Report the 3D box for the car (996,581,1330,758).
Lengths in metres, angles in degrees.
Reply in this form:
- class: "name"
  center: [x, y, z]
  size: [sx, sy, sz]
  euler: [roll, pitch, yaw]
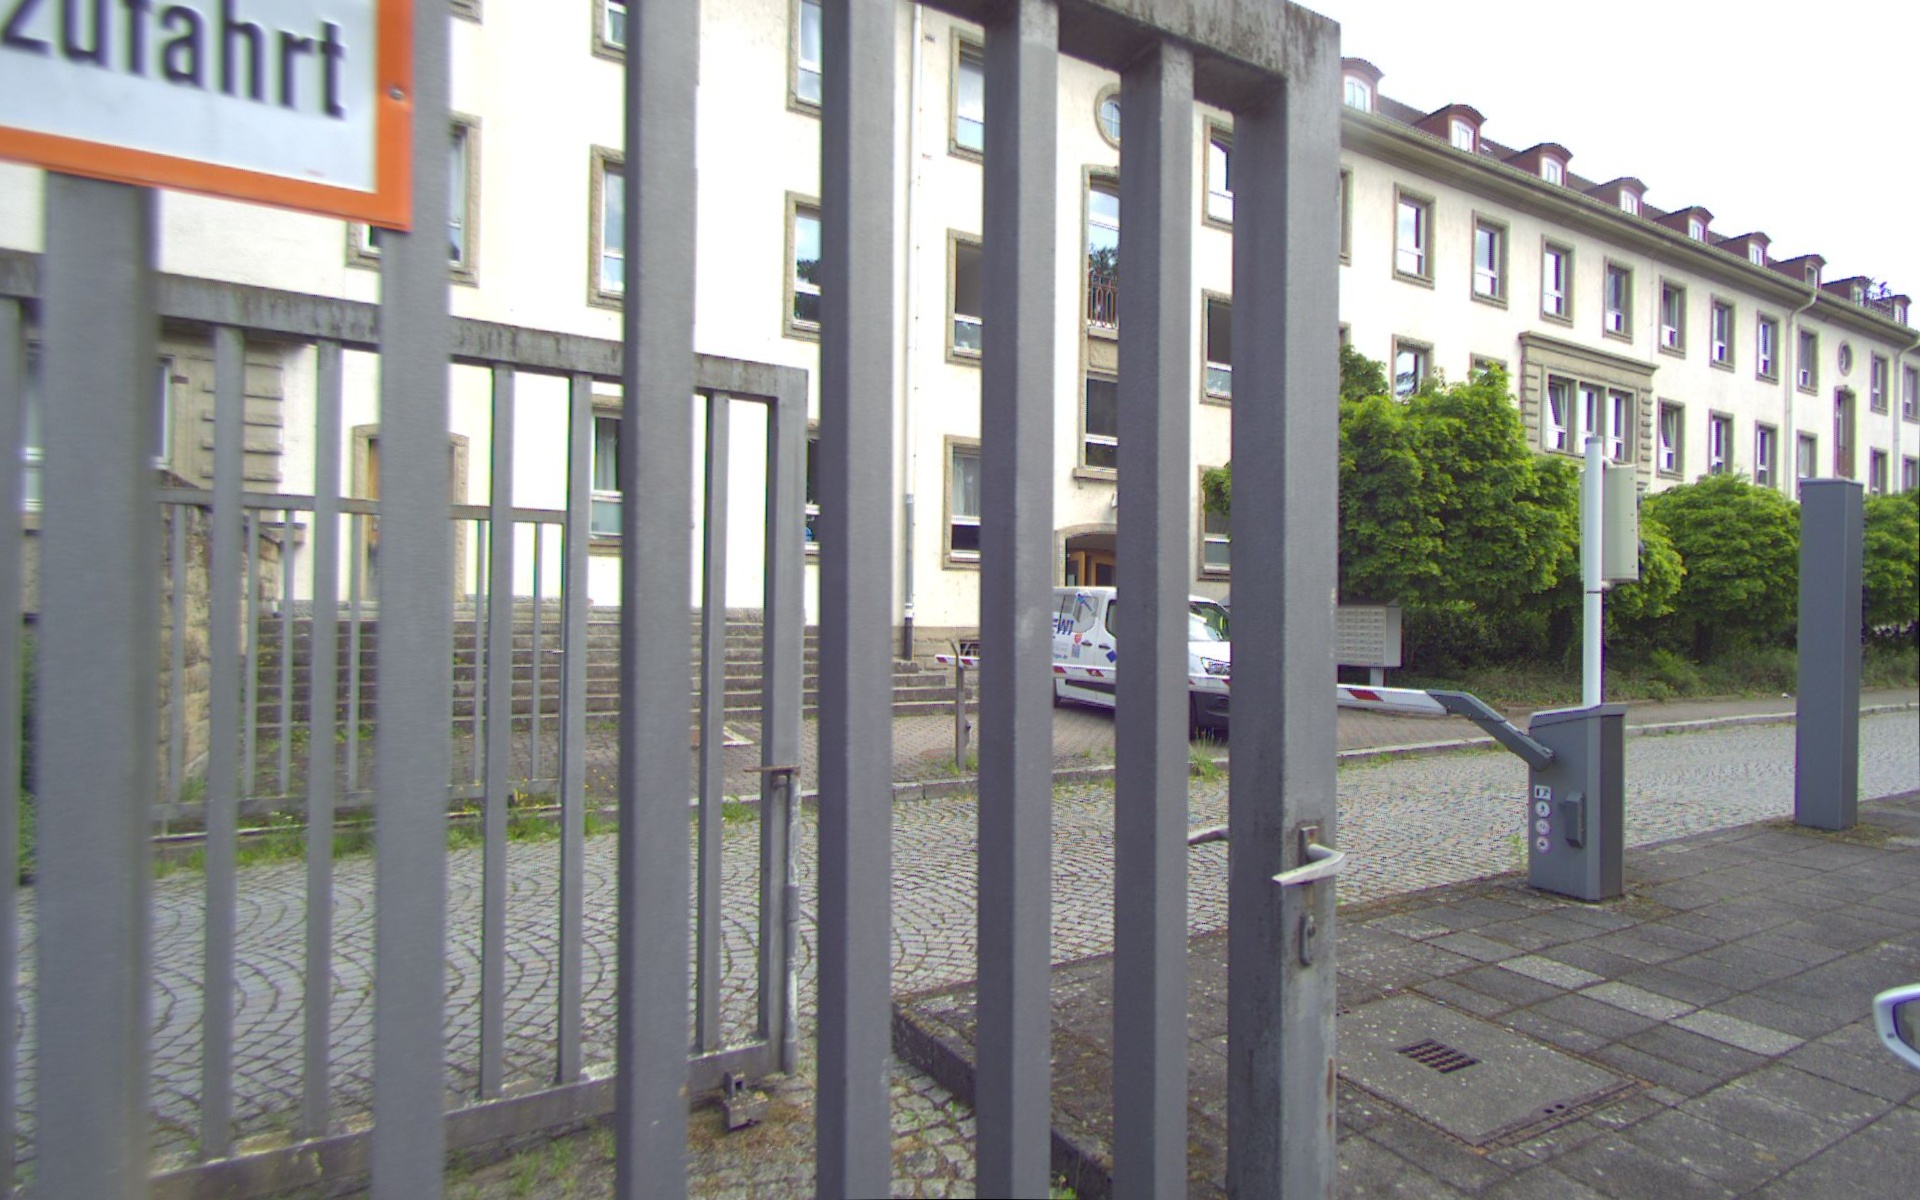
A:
- class: "car"
  center: [2.515, 0.754, 13.591]
  size: [1.838, 1.775, 4.410]
  euler: [1, 3, -32]
